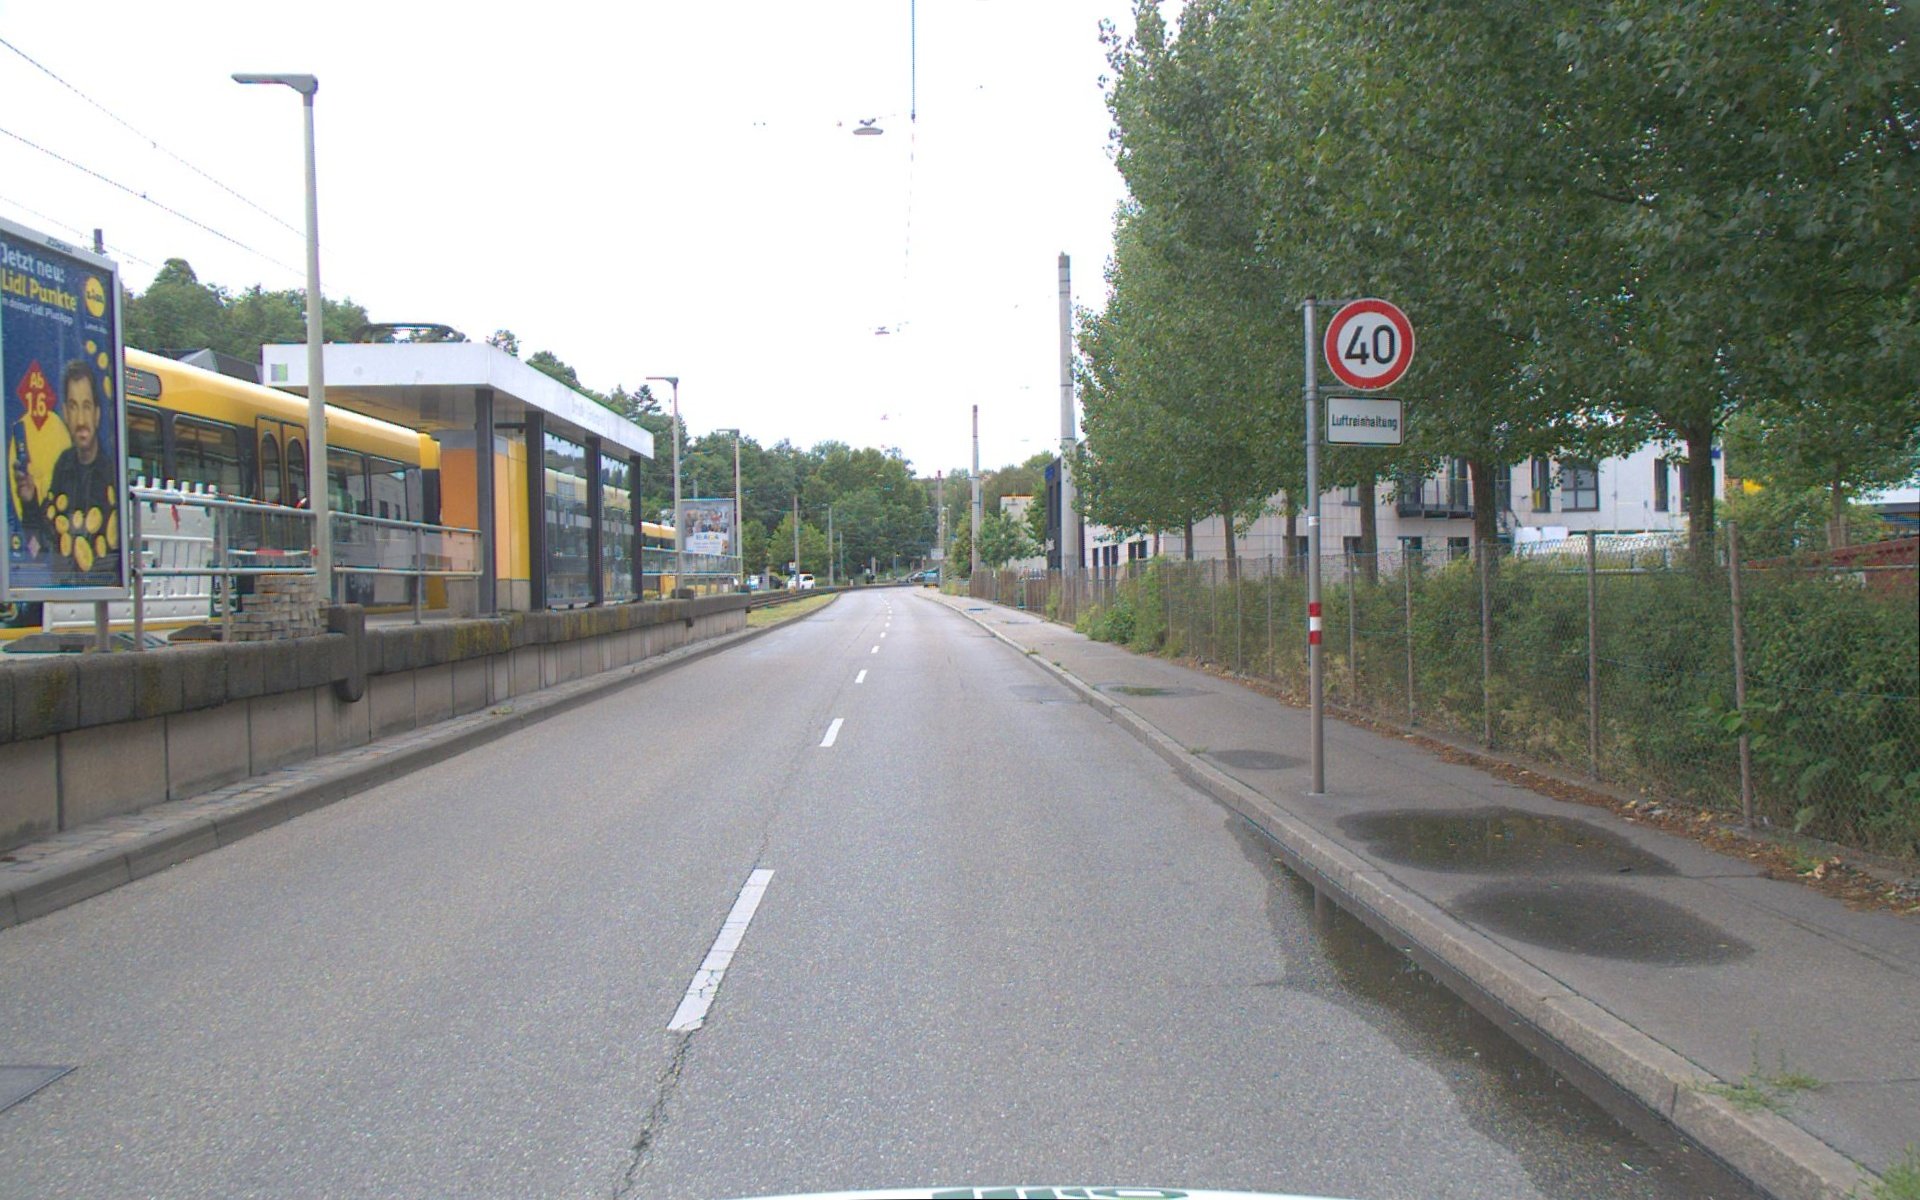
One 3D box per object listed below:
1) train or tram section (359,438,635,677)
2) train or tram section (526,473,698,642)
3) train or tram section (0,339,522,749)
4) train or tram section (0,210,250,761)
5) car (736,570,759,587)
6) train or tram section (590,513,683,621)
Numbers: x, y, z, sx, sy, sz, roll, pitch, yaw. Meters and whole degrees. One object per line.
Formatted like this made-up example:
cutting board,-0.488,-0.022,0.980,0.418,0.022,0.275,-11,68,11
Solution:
train or tram section,-9.127,-0.882,34.400,2.685,4.035,11.908,-1,1,-2
train or tram section,-9.472,-1.187,46.333,2.912,4.135,10.193,-1,1,-2
train or tram section,-8.723,-0.707,22.480,2.685,4.035,11.908,-1,1,-2
train or tram section,-8.302,-0.781,10.545,2.685,4.035,11.908,-1,1,-2
car,-26.788,-2.711,208.663,1.789,1.736,4.145,-2,-3,8
train or tram section,-12.507,-1.223,64.597,1.953,3.862,9.176,-1,0,-2
